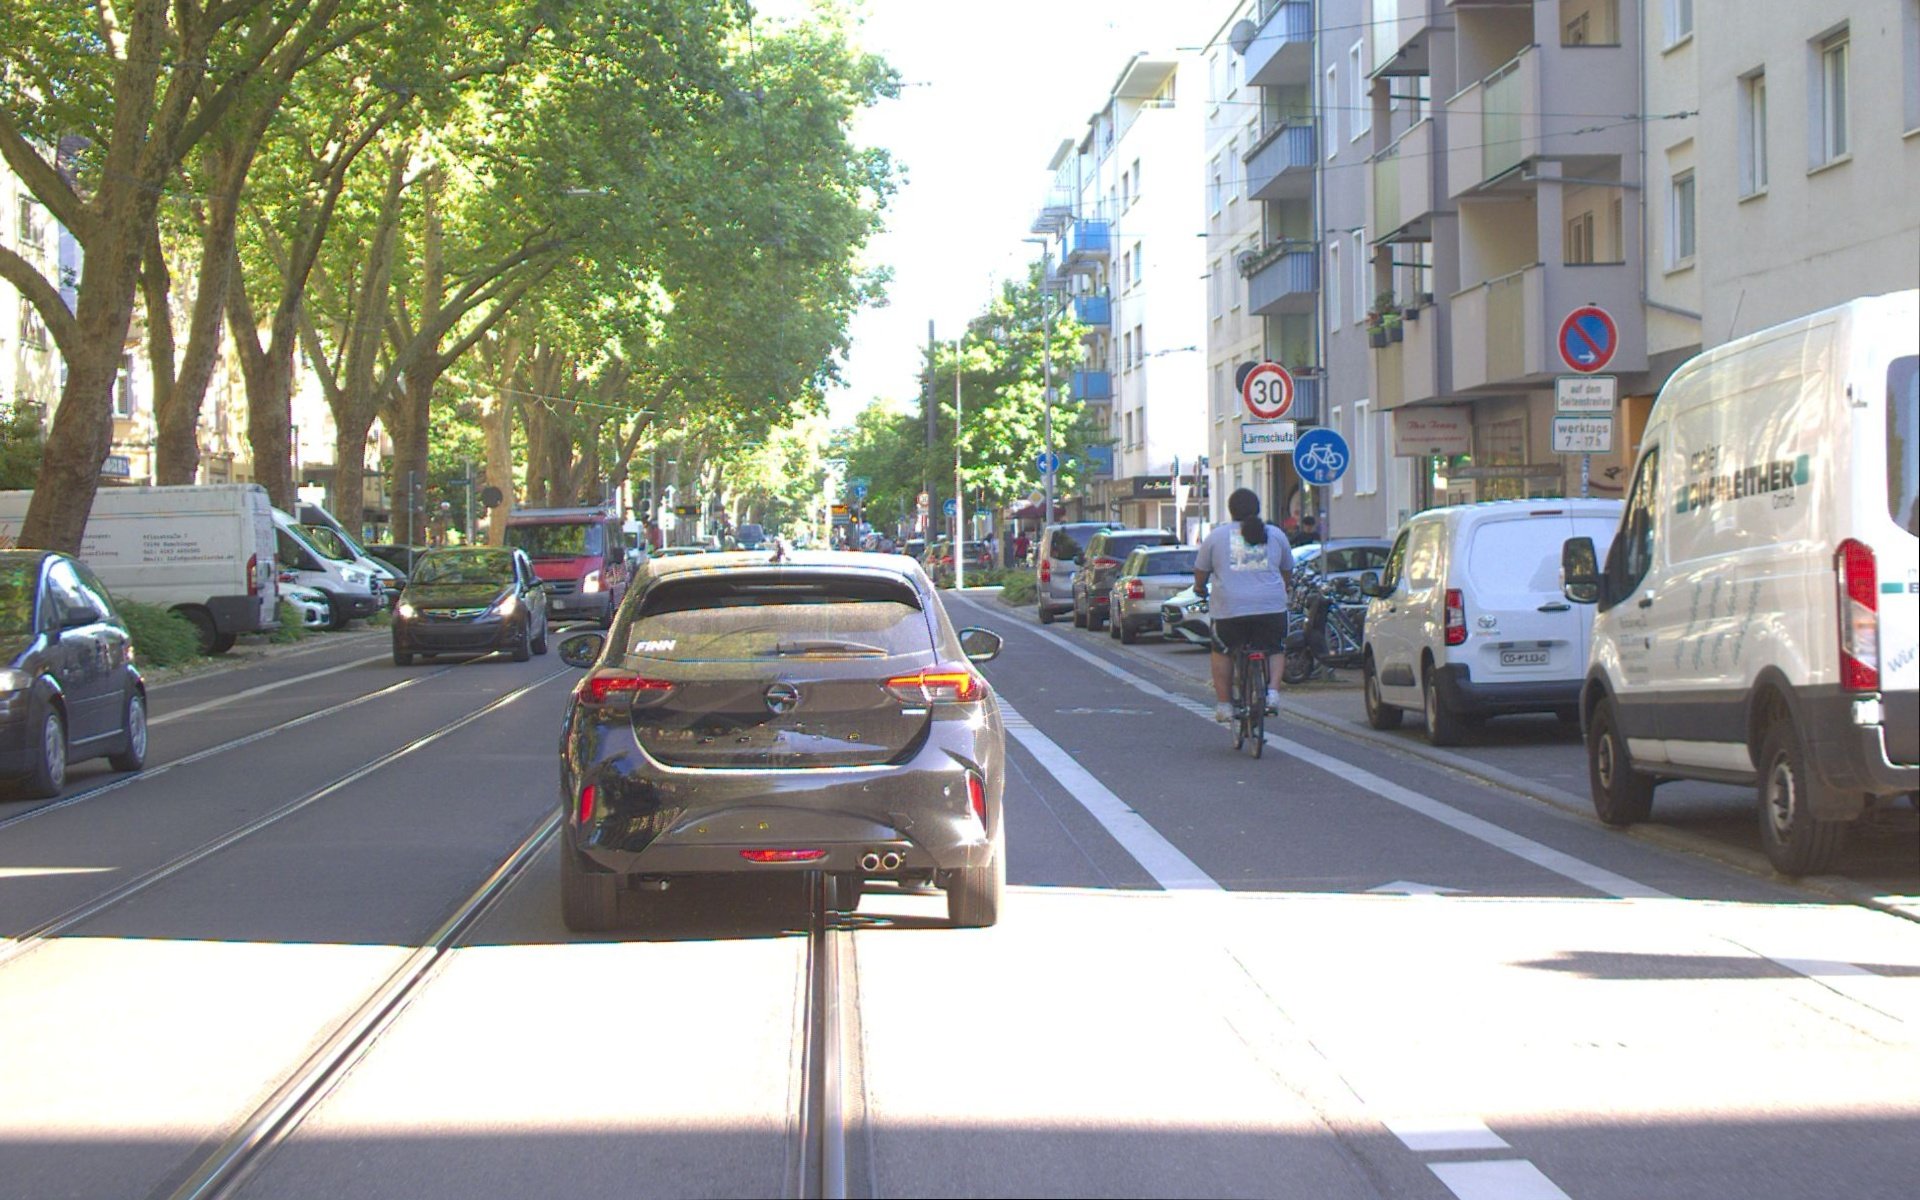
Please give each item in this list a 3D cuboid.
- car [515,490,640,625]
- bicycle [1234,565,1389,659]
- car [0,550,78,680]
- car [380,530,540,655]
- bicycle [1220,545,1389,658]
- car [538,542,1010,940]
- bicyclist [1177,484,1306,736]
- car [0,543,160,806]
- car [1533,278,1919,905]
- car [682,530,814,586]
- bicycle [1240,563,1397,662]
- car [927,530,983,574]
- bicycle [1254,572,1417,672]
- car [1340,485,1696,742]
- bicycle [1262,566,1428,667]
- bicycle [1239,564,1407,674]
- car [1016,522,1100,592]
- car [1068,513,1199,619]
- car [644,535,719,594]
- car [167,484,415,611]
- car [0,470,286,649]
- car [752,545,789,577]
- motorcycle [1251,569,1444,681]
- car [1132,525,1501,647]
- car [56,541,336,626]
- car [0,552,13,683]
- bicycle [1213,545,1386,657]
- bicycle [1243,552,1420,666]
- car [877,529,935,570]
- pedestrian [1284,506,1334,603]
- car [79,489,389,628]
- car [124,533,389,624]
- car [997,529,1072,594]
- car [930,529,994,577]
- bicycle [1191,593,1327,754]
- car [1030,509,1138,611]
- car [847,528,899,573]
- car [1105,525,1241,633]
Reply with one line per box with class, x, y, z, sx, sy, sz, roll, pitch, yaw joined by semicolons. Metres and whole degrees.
car;-6.630;-0.757;59.984;1.917;2.219;4.961;-1;1;-4
bicycle;3.975;0.130;38.876;1.652;0.963;0.457;-3;1;-2
car;-12.691;0.192;40.778;3.987;1.491;1.830;-1;1;-1
car;-6.382;-0.134;44.166;1.717;1.504;3.723;-1;1;-4
bicycle;3.939;0.015;39.344;1.823;1.187;0.457;-3;1;-2
car;-0.748;0.481;14.155;1.679;1.417;3.628;1;1;-3
bicyclist;1.997;0.062;24.452;0.786;1.753;0.915;-1;1;-3
car;-6.187;0.413;21.646;1.635;1.504;3.692;-1;1;-4
car;4.515;-0.094;16.743;2.149;2.487;6.089;-1;1;-3
car;-6.511;-1.305;105.863;3.986;1.646;1.865;-1;1;-2
bicycle;3.994;0.137;38.373;1.652;1.017;0.457;-3;1;-2
car;-0.196;-1.719;122.576;1.718;1.485;3.682;-1;1;-4
bicycle;4.033;0.234;36.973;1.652;0.983;0.457;-3;1;-2
car;4.265;0.052;26.939;1.858;1.814;4.351;-1;1;-3
bicycle;4.075;0.172;36.405;1.652;0.983;0.457;-3;1;-2
bicycle;3.784;0.195;35.871;1.652;1.051;0.457;-3;1;-2
car;2.377;-1.064;84.151;1.858;1.646;4.000;-1;1;0
car;2.911;-0.600;58.458;1.766;1.699;4.284;-1;1;-3
car;-6.708;-0.884;82.995;1.717;1.354;4.471;-1;1;-4
car;-14.199;-1.124;73.173;4.942;2.558;2.083;-1;1;-5
car;-12.852;-0.597;49.872;5.740;2.527;2.163;0;1;-2
car;-10.139;-2.102;183.834;1.750;1.646;4.000;-1;1;0
motorcycle;3.931;0.256;34.905;1.820;1.076;0.617;-2;1;22
car;4.853;-0.211;47.015;4.612;1.432;1.865;-3;1;-13
car;-13.112;-0.304;59.193;4.409;1.380;1.934;-1;1;-2
car;-12.548;0.206;37.819;3.793;1.455;1.704;0;1;-1
bicycle;3.929;0.007;39.831;1.892;1.187;0.457;-3;1;-2
bicycle;4.063;0.094;37.681;1.793;1.144;0.704;-3;1;-2
car;-2.238;-2.075;141.260;1.993;1.634;4.001;-1;1;-6
pedestrian;6.229;-0.822;61.457;0.756;1.714;0.720;-1;1;-3
car;-13.552;-0.787;64.395;5.360;2.469;2.057;-1;1;-2
car;-12.536;-0.400;61.460;4.370;1.533;1.872;-1;1;-2
car;1.962;-1.048;91.860;1.858;1.646;4.000;-1;1;0
car;0.049;-1.611;116.689;1.718;1.568;4.086;-1;1;-6
bicycle;2.127;0.505;24.672;0.701;1.088;1.990;1;1;-3
car;2.379;-0.809;67.248;1.858;1.883;4.925;-1;1;0
car;-3.232;-1.859;128.273;1.858;1.646;4.000;-1;1;0
car;3.174;-0.350;51.940;1.724;1.520;4.513;-1;1;0
